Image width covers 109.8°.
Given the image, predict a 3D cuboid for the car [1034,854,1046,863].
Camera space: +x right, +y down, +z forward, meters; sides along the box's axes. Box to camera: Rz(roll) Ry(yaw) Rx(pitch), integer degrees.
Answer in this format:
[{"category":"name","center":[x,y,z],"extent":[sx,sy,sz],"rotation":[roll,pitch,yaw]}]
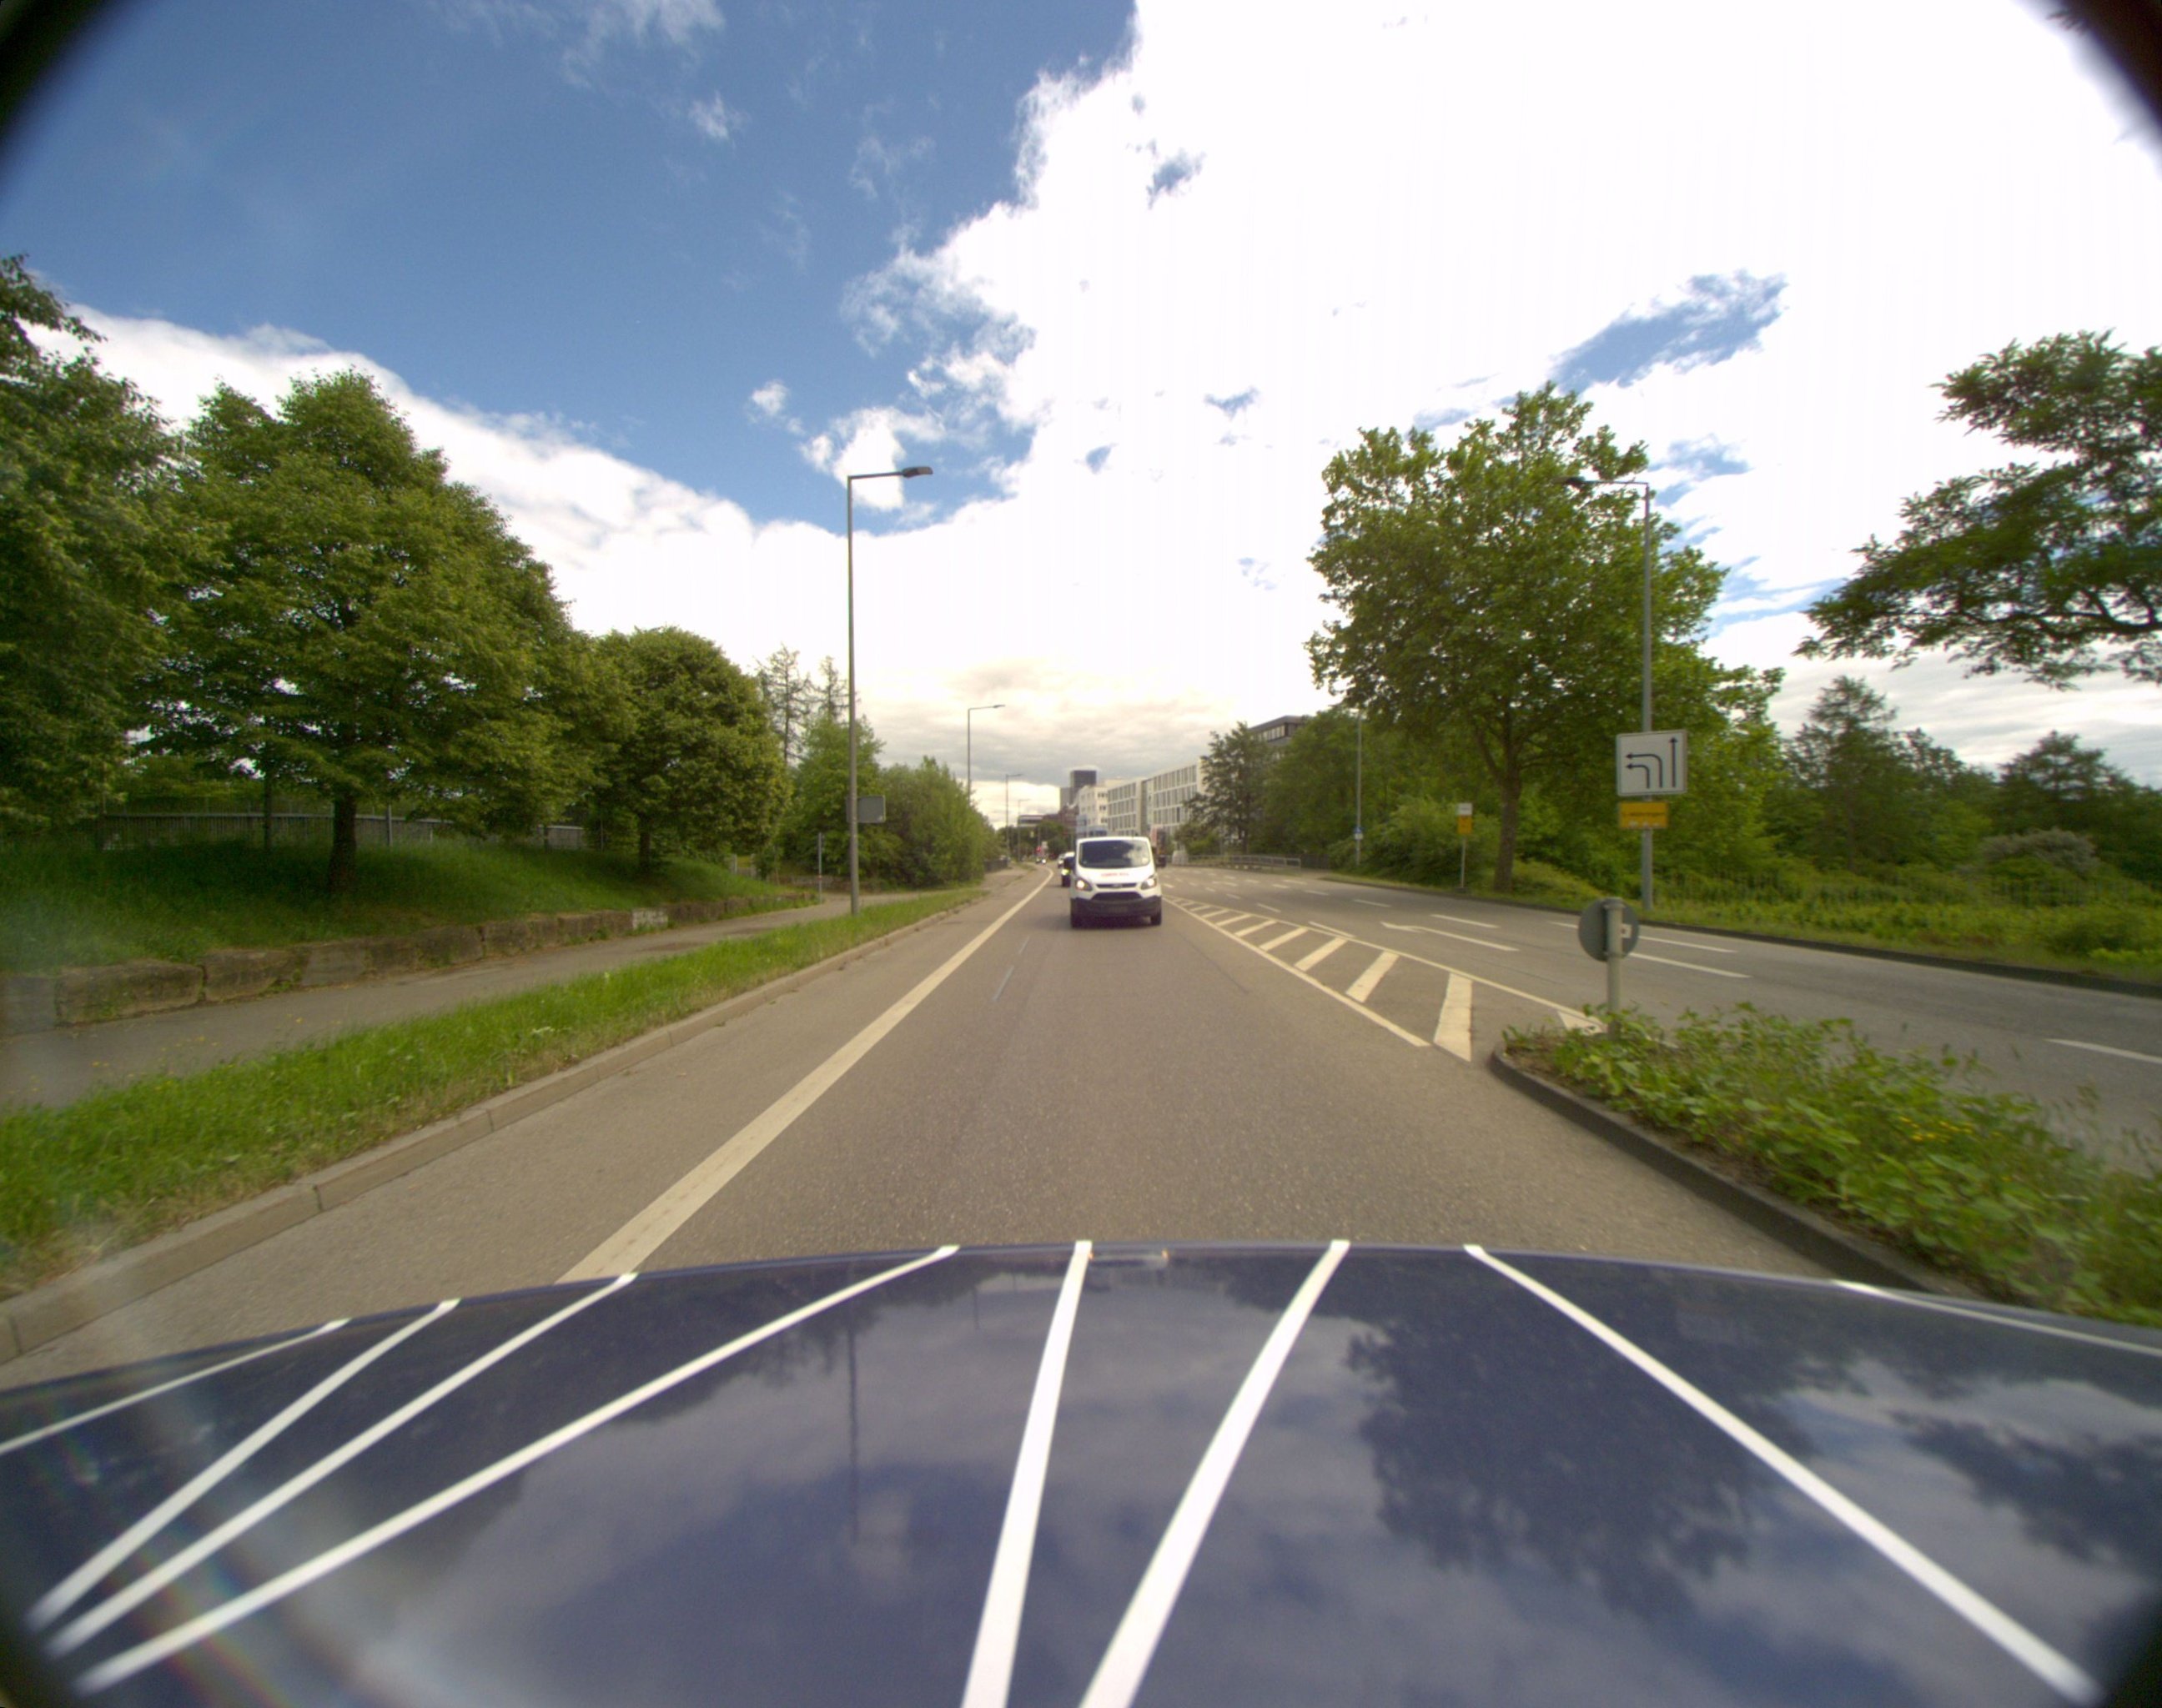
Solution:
[{"category":"car","center":[-7.856,0.809,145.830],"extent":[1.874,1.685,4.367],"rotation":[-2,0,-10]}]

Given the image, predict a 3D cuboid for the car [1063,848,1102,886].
[{"category":"car","center":[0.045,0.645,40.208],"extent":[1.872,1.836,4.371],"rotation":[-2,0,-1]}]

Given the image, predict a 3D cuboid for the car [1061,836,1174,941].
[{"category":"car","center":[0.687,0.648,17.712],"extent":[2.122,1.963,6.206],"rotation":[-2,0,0]}]

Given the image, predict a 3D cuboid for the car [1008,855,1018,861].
[{"category":"car","center":[-16.397,0.919,182.588],"extent":[1.737,1.432,4.363],"rotation":[-2,0,-14]}]

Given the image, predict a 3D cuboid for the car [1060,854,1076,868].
[{"category":"car","center":[-1.650,0.895,96.095],"extent":[1.873,1.685,4.369],"rotation":[-2,0,-4]}]

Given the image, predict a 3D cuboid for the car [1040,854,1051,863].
[{"category":"car","center":[-6.420,0.785,137.393],"extent":[1.873,1.685,4.369],"rotation":[-2,0,-5]}]
